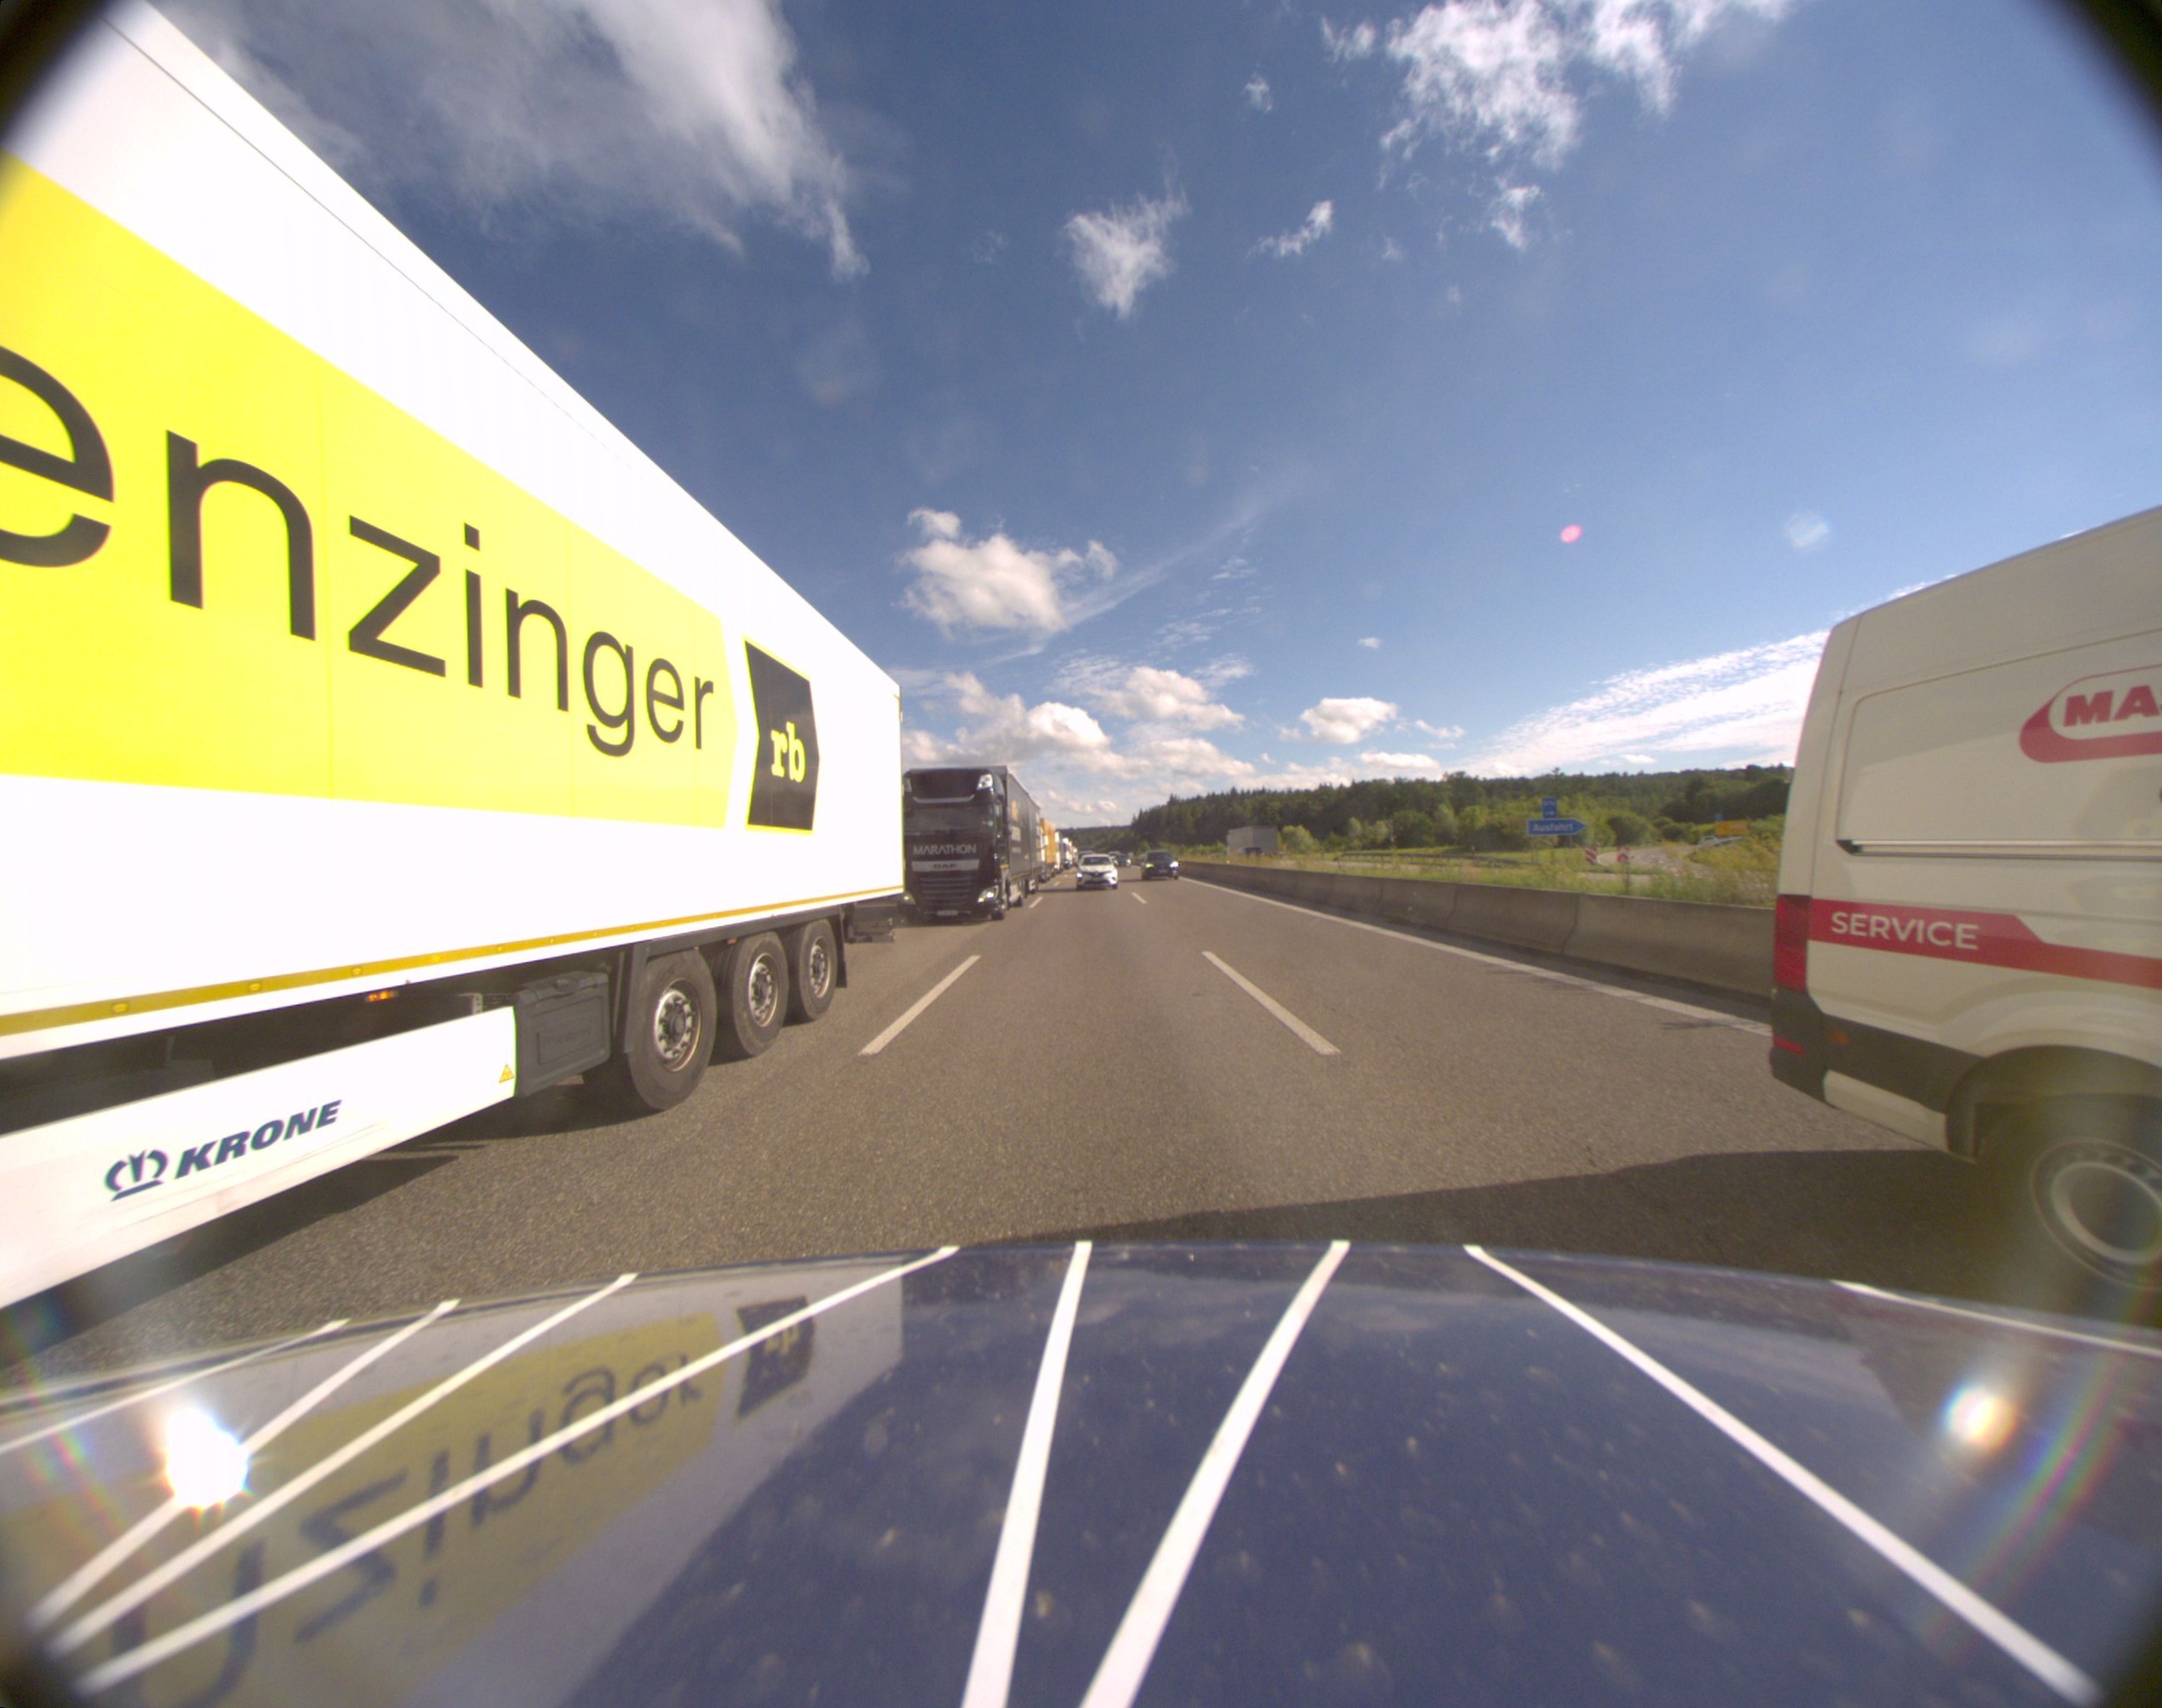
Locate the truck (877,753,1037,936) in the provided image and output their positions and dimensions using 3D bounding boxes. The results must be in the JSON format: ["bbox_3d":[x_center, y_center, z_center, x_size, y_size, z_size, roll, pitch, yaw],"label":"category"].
[{"bbox_3d":[-3.144,-0.257,22.576,2.748,4.015,10.201,-4,0,0],"label":"truck"}]

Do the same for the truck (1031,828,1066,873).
[{"bbox_3d":[-3.081,-0.357,73.950,2.654,4.066,6.491,-4,1,2],"label":"truck"}]

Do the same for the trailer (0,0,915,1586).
[{"bbox_3d":[-3.886,-0.266,4.042,2.799,3.916,13.068,-2,1,1],"label":"trailer"}]

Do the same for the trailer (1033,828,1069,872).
[{"bbox_3d":[-2.945,-0.447,79.823,2.648,4.074,13.980,-4,0,1],"label":"trailer"}]

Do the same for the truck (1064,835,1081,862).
[{"bbox_3d":[-1.374,-0.764,119.131,2.371,3.996,6.106,-3,-1,0],"label":"truck"}]

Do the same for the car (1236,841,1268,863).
[{"bbox_3d":[15.982,-0.197,71.174,1.883,1.865,4.489,-4,1,1],"label":"car"}]

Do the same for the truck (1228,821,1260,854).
[{"bbox_3d":[20.320,-2.068,95.181,2.826,3.953,5.833,-2,1,1],"label":"truck"}]

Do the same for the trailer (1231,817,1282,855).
[{"bbox_3d":[20.150,-2.022,88.202,2.839,3.969,13.548,-2,1,1],"label":"trailer"}]

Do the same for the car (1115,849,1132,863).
[{"bbox_3d":[4.778,0.237,85.298,1.779,1.451,4.158,-1,1,1],"label":"car"}]

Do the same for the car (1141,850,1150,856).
[{"bbox_3d":[18.186,-0.316,213.624,1.923,1.468,4.933,-4,0,0],"label":"car"}]

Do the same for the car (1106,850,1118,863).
[{"bbox_3d":[4.620,0.366,113.700,1.779,1.923,4.214,-1,0,1],"label":"car"}]

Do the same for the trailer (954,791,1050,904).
[{"bbox_3d":[-3.066,-0.237,32.096,2.722,3.937,8.711,-4,0,1],"label":"trailer"}]

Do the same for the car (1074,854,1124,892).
[{"bbox_3d":[0.863,0.783,34.025,2.026,1.511,5.299,-2,0,2],"label":"car"}]

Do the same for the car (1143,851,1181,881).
[{"bbox_3d":[4.492,0.643,42.778,1.779,1.533,4.158,-1,1,1],"label":"car"}]

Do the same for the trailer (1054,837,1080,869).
[{"bbox_3d":[-1.846,-0.206,102.843,2.652,3.911,11.175,-4,0,2],"label":"trailer"}]

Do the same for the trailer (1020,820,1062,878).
[{"bbox_3d":[-2.964,-0.368,58.966,2.418,4.045,8.926,-4,0,1],"label":"trailer"}]

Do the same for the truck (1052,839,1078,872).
[{"bbox_3d":[-1.997,0.192,96.569,2.655,3.902,6.943,-4,0,2],"label":"truck"}]

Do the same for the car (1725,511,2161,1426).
[{"bbox_3d":[4.055,0.309,0.502,2.020,2.583,6.182,-1,0,0],"label":"car"}]

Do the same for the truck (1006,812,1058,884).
[{"bbox_3d":[-3.043,-0.362,49.641,2.418,4.045,9.664,-4,0,1],"label":"truck"}]
